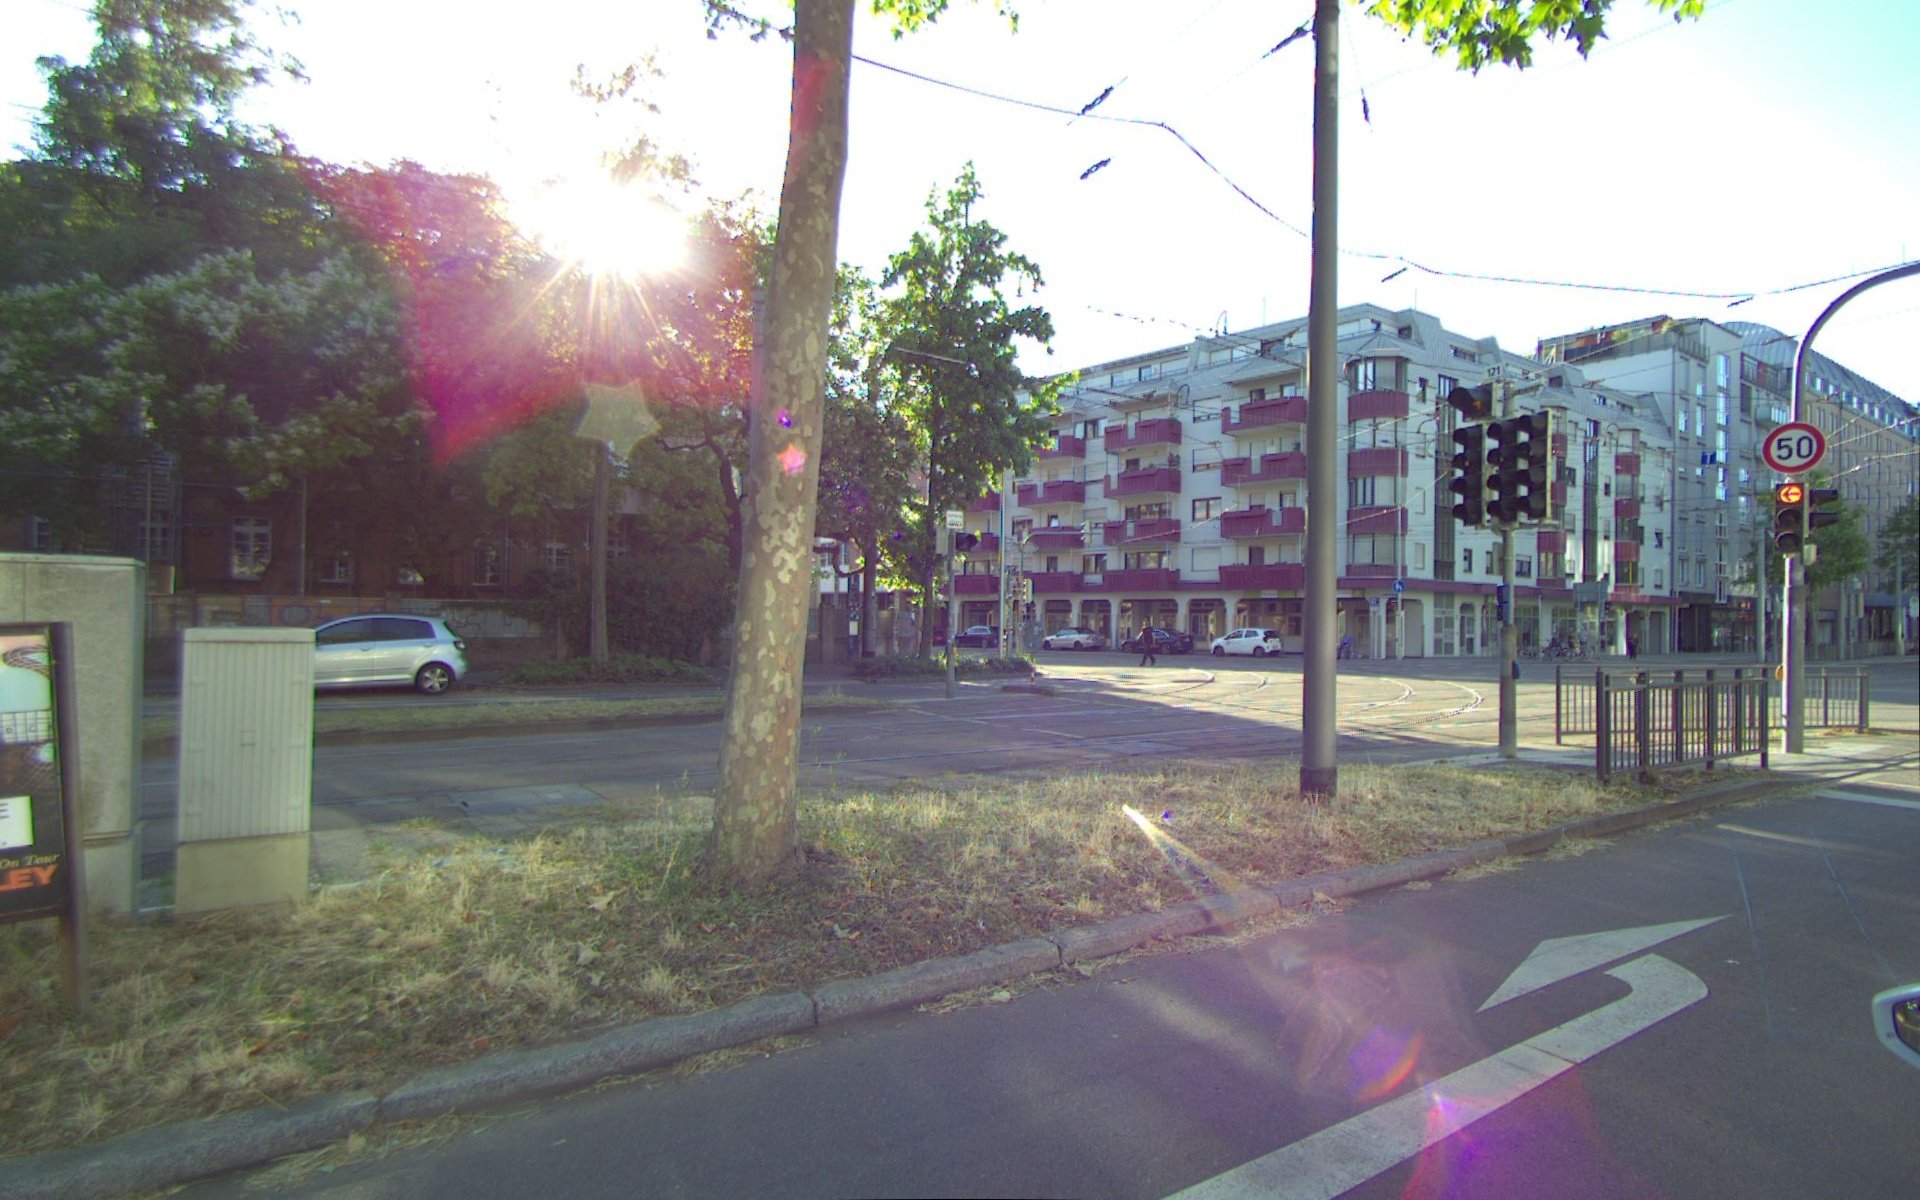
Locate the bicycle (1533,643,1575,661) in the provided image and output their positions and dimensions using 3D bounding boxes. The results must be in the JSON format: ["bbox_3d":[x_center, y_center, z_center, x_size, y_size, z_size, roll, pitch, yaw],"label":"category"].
[{"bbox_3d":[30.414,2.674,51.453,0.547,0.865,1.833,1,-1,-32],"label":"bicycle"}]

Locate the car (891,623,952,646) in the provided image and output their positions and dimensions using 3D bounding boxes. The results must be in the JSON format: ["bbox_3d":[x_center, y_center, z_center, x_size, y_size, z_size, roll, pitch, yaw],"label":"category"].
[{"bbox_3d":[-2.805,2.435,72.212,1.986,1.576,4.527,2,-2,-42],"label":"car"}]

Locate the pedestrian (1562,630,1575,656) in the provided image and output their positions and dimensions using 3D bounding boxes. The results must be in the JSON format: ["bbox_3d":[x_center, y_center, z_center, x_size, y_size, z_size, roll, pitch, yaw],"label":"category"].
[{"bbox_3d":[36.274,2.553,59.865,0.582,1.514,0.530,1,-1,-38],"label":"pedestrian"}]

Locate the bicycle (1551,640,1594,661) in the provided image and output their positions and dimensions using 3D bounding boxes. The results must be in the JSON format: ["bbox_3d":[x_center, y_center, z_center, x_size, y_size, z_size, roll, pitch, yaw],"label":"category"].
[{"bbox_3d":[31.983,2.623,52.459,0.548,0.998,1.830,1,-1,-36],"label":"bicycle"}]

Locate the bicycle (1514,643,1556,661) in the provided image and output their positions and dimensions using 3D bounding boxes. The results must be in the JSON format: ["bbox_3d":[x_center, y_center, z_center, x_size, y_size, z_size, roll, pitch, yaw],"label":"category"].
[{"bbox_3d":[29.496,2.679,51.533,0.547,0.865,1.833,1,-1,-32],"label":"bicycle"}]

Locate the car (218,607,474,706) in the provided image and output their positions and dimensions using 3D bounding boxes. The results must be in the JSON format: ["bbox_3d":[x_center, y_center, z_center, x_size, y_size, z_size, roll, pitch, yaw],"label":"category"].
[{"bbox_3d":[-11.947,1.039,19.637,4.062,1.641,2.065,2,1,-38],"label":"car"}]

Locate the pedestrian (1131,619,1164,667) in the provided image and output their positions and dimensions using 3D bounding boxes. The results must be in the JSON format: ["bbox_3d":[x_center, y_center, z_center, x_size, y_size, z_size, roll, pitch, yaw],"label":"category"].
[{"bbox_3d":[7.031,1.607,37.726,1.010,1.775,0.728,1,-1,-38],"label":"pedestrian"}]

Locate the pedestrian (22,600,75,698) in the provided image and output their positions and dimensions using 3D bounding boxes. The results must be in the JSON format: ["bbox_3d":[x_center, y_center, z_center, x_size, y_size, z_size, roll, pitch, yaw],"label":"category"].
[{"bbox_3d":[-16.186,0.856,17.849,0.626,1.687,0.563,1,1,-37],"label":"pedestrian"}]

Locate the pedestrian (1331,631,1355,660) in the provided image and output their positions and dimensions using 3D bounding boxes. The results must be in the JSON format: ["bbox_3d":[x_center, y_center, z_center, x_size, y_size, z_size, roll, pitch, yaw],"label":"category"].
[{"bbox_3d":[19.044,2.248,49.940,0.848,1.402,0.831,0,-1,45],"label":"pedestrian"}]

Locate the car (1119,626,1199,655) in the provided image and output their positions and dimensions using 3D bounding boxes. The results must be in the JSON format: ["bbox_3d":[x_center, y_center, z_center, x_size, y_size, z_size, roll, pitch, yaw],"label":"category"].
[{"bbox_3d":[11.165,2.260,56.614,1.986,1.576,4.072,2,-2,-42],"label":"car"}]

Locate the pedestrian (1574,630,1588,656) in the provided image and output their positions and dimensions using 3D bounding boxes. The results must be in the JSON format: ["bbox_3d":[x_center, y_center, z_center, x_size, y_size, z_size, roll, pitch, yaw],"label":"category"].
[{"bbox_3d":[36.659,2.562,59.312,0.582,1.514,0.530,1,-1,-38],"label":"pedestrian"}]

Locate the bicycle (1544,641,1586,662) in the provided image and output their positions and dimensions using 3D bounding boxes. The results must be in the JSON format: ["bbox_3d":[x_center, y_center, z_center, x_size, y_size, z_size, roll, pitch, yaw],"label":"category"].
[{"bbox_3d":[31.427,2.666,52.207,0.548,0.998,1.830,1,-1,-36],"label":"bicycle"}]

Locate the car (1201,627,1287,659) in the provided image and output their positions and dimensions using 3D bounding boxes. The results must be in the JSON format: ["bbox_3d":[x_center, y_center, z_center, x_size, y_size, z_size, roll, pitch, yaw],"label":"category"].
[{"bbox_3d":[14.894,2.236,52.770,1.986,1.576,3.950,2,-2,-42],"label":"car"}]

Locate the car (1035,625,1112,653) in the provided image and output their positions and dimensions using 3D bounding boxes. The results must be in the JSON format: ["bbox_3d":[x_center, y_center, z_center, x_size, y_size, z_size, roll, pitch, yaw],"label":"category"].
[{"bbox_3d":[6.892,2.342,61.201,1.986,1.576,4.527,2,-2,-42],"label":"car"}]

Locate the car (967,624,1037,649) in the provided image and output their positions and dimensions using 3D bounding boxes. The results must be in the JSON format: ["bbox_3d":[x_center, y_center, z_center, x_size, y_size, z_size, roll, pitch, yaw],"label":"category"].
[{"bbox_3d":[2.726,2.404,66.240,1.986,1.576,4.527,2,-2,-42],"label":"car"}]

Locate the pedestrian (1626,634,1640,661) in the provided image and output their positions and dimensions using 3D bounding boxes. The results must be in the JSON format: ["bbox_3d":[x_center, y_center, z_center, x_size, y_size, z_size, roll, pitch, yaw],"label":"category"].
[{"bbox_3d":[38.973,2.753,58.178,0.683,1.564,1.046,0,-1,35],"label":"pedestrian"}]

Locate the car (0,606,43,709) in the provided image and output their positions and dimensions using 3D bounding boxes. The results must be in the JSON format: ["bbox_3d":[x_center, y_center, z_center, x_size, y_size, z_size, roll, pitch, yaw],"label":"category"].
[{"bbox_3d":[-17.101,0.862,15.304,4.418,1.522,2.065,2,1,-38],"label":"car"}]
